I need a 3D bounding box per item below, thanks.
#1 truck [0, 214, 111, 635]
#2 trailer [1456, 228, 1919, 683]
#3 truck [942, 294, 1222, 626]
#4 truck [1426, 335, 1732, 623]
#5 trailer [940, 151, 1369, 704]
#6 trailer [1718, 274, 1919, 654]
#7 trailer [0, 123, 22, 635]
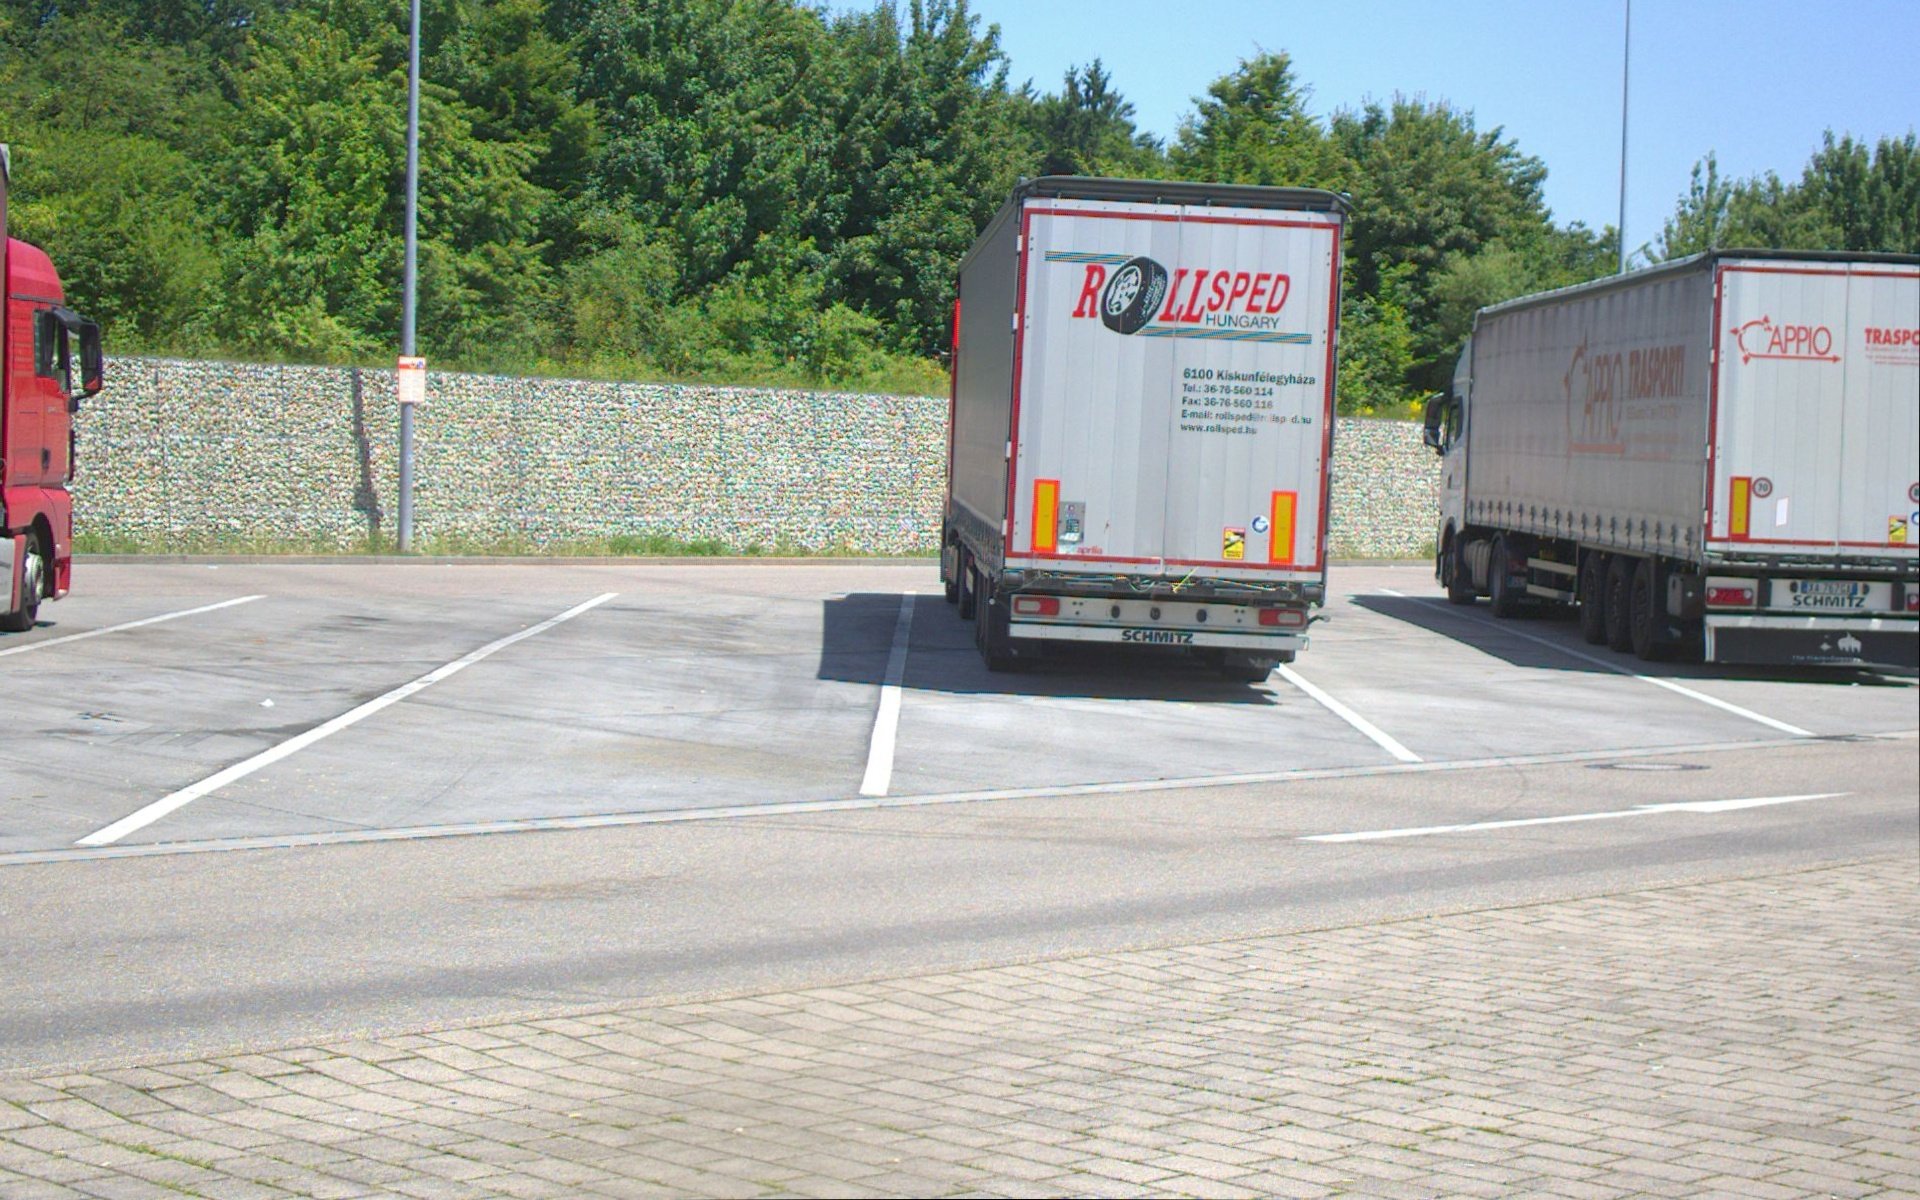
[{"bbox_3d":[-9.230,-1.503,28.746,2.852,3.416,5.483,2,2,-1],"label":"truck"},{"bbox_3d":[8.163,-1.626,38.693,2.838,4.118,13.724,2,3,-1],"label":"trailer"},{"bbox_3d":[1.297,-1.627,39.816,2.852,3.472,5.483,2,2,-1],"label":"truck"},{"bbox_3d":[8.070,-1.623,45.506,2.852,3.472,5.483,2,2,-1],"label":"truck"},{"bbox_3d":[1.446,-1.621,33.203,2.906,4.118,13.725,2,3,-1],"label":"trailer"},{"bbox_3d":[11.800,-1.528,39.445,2.838,4.118,13.724,2,3,-1],"label":"trailer"},{"bbox_3d":[-9.140,-1.488,21.307,2.906,4.118,13.725,2,3,-1],"label":"trailer"}]
